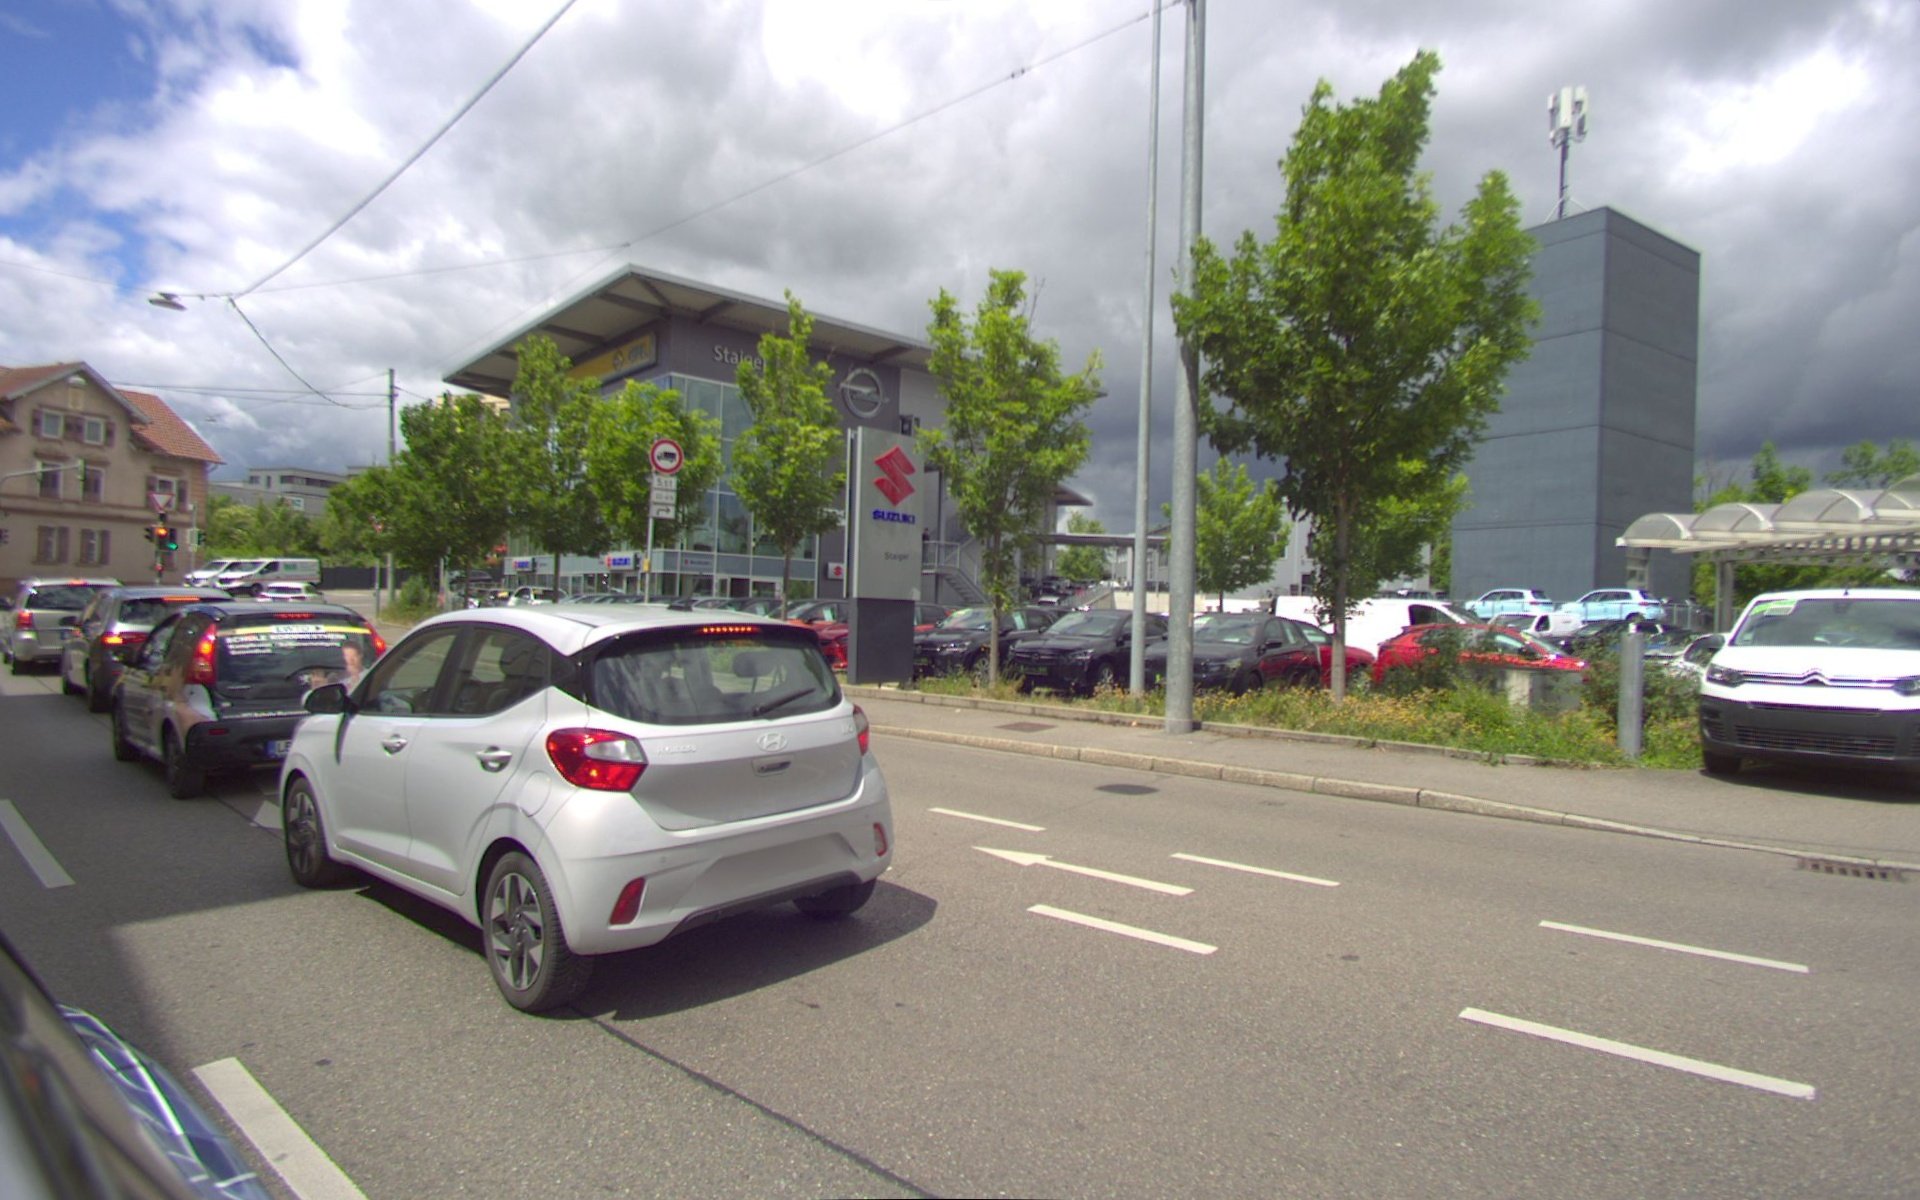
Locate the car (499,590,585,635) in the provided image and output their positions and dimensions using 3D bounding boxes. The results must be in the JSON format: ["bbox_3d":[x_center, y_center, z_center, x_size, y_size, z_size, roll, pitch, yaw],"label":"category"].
[{"bbox_3d":[-16.002,0.426,38.628,1.918,1.574,4.002,0,1,-40],"label":"car"}]

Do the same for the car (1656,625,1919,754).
[{"bbox_3d":[11.396,1.098,13.939,1.999,1.447,4.490,1,-1,22],"label":"car"}]

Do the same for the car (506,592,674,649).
[{"bbox_3d":[-10.561,0.619,29.126,1.812,1.509,4.161,-1,-2,42],"label":"car"}]

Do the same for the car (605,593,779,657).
[{"bbox_3d":[-6.853,0.671,26.156,1.812,1.509,4.011,-1,-2,42],"label":"car"}]

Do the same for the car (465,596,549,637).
[{"bbox_3d":[-18.930,0.641,42.223,1.919,1.574,4.311,-1,1,-43],"label":"car"}]

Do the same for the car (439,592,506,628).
[{"bbox_3d":[-22.037,0.421,45.648,1.917,1.485,4.316,0,1,-37],"label":"car"}]

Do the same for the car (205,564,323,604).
[{"bbox_3d":[-36.489,-0.905,53.252,1.983,2.007,4.962,0,2,17],"label":"car"}]

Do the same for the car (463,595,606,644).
[{"bbox_3d":[-13.997,0.662,33.396,3.940,1.509,1.814,3,-3,-45],"label":"car"}]

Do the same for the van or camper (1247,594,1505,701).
[{"bbox_3d":[8.721,0.953,21.461,4.684,2.029,1.972,-1,-2,42],"label":"van or camper"}]

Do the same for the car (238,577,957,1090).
[{"bbox_3d":[-2.071,0.692,5.121,3.998,1.593,1.701,1,1,41],"label":"car"}]

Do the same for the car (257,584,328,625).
[{"bbox_3d":[-27.141,0.155,41.291,1.694,1.508,4.478,4,-1,-25],"label":"car"}]

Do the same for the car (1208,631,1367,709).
[{"bbox_3d":[6.085,1.240,18.605,1.544,1.263,3.427,-1,-2,41],"label":"car"}]

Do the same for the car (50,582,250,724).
[{"bbox_3d":[-11.104,0.577,13.761,1.699,1.593,4.254,-1,2,-45],"label":"car"}]

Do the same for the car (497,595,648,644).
[{"bbox_3d":[-12.067,0.636,31.661,4.019,1.405,1.814,3,-3,-45],"label":"car"}]

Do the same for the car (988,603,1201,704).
[{"bbox_3d":[2.335,0.849,16.799,1.771,1.472,3.794,0,-2,40],"label":"car"}]

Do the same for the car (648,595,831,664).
[{"bbox_3d":[-5.172,0.725,24.114,1.812,1.509,3.939,-1,-2,42],"label":"car"}]

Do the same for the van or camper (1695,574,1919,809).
[{"bbox_3d":[8.604,0.760,9.485,4.613,1.763,2.002,2,-2,-44],"label":"van or camper"}]

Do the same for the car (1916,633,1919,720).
[{"bbox_3d":[17.307,1.276,15.469,1.793,1.478,3.777,1,-2,1],"label":"car"}]

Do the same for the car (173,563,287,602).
[{"bbox_3d":[-39.474,-0.995,54.875,1.984,2.026,4.788,0,2,18],"label":"car"}]

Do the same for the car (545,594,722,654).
[{"bbox_3d":[-8.827,0.674,27.607,1.812,1.509,4.232,-1,-2,42],"label":"car"}]

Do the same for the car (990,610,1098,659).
[{"bbox_3d":[2.524,1.020,29.891,1.517,1.384,3.280,-1,-2,41],"label":"car"}]

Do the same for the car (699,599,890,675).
[{"bbox_3d":[-3.522,0.798,21.998,1.812,1.509,3.786,-1,-2,42],"label":"car"}]

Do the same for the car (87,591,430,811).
[{"bbox_3d":[-6.182,0.693,8.815,3.321,1.495,1.701,1,1,41],"label":"car"}]

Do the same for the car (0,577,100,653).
[{"bbox_3d":[-21.038,0.273,23.235,1.699,1.593,4.003,-1,2,-45],"label":"car"}]

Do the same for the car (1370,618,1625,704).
[{"bbox_3d":[8.794,0.948,16.678,3.473,1.263,1.524,0,-2,41],"label":"car"}]

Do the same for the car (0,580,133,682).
[{"bbox_3d":[-16.168,0.453,18.145,1.699,1.593,4.321,-1,2,-45],"label":"car"}]

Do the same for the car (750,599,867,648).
[{"bbox_3d":[-4.511,0.716,30.406,1.517,1.384,3.280,-1,-2,41],"label":"car"}]

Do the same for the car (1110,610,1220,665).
[{"bbox_3d":[5.632,1.022,27.630,1.517,1.384,3.280,-1,-2,41],"label":"car"}]

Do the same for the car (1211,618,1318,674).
[{"bbox_3d":[8.155,1.208,27.005,1.517,1.384,3.280,-1,-2,41],"label":"car"}]

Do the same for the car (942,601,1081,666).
[{"bbox_3d":[1.242,0.777,23.404,1.517,1.384,3.280,-1,-2,41],"label":"car"}]

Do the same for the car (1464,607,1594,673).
[{"bbox_3d":[20.612,1.385,36.612,4.754,2.028,2.006,-2,2,-31],"label":"car"}]

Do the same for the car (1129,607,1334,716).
[{"bbox_3d":[4.194,0.875,15.263,1.792,1.420,3.664,0,-2,36],"label":"car"}]

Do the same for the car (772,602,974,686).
[{"bbox_3d":[-1.642,0.856,20.061,1.812,1.509,3.808,-1,-2,41],"label":"car"}]

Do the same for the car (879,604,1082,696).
[{"bbox_3d":[0.471,0.891,18.645,1.810,1.509,3.776,0,-2,39],"label":"car"}]
